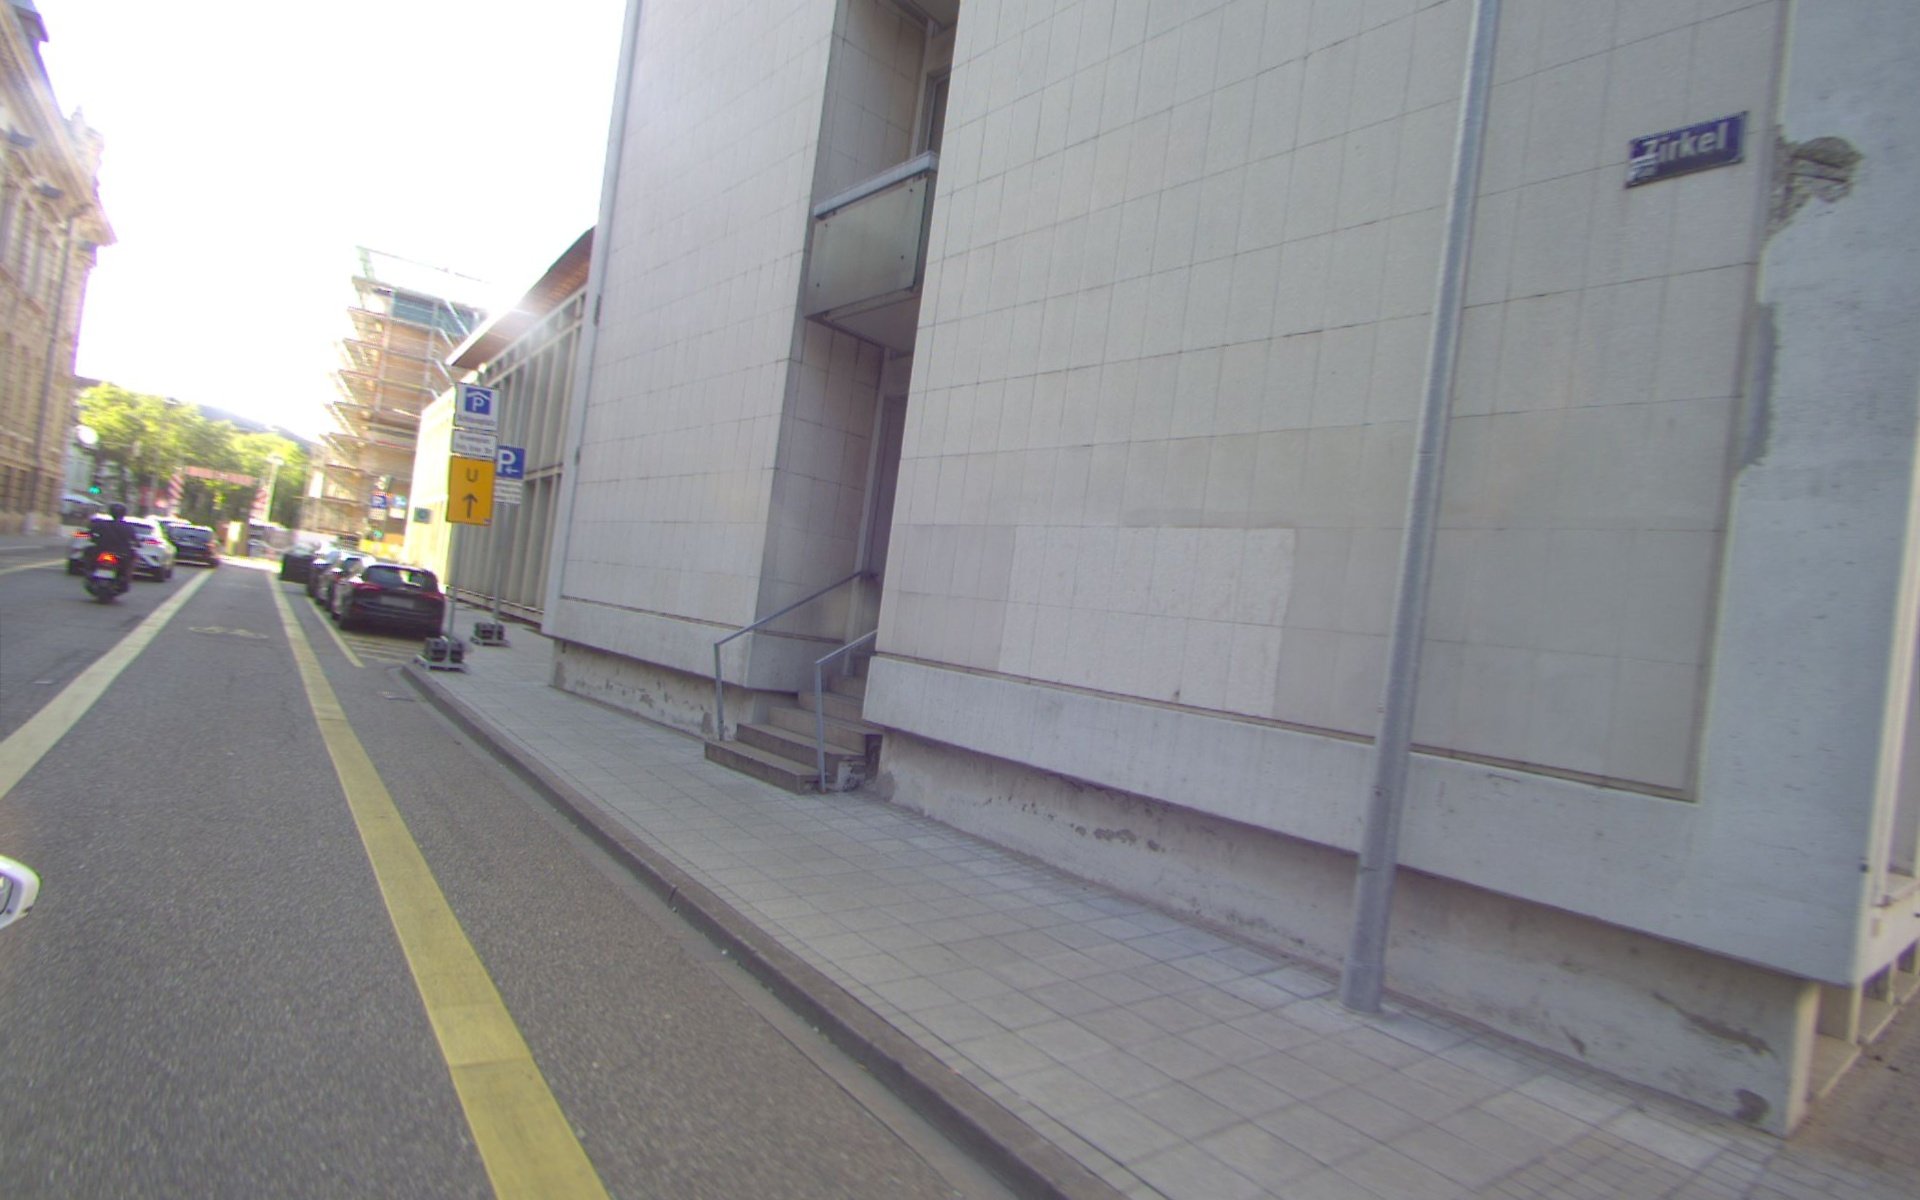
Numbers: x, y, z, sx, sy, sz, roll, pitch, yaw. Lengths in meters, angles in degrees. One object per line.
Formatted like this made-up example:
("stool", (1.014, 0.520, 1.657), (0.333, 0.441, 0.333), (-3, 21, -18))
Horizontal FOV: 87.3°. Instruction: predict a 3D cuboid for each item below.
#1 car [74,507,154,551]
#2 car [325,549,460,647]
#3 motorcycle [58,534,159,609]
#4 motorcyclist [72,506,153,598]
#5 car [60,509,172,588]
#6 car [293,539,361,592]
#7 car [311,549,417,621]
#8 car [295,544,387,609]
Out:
("car", (-41.901, -3.517, 49.810), (4.290, 1.686, 1.993), (8, 2, 36))
("car", (-11.788, -0.098, 20.747), (1.774, 1.496, 4.246), (10, -2, -36))
("motorcycle", (-14.688, -0.476, 17.420), (0.865, 1.122, 1.827), (7, -2, -28))
("motorcyclist", (-14.568, -0.815, 17.307), (0.860, 1.444, 0.452), (7, -1, -29))
("car", (-20.907, -1.289, 25.078), (1.815, 1.559, 4.219), (10, -3, -38))
("car", (-25.814, -1.437, 40.957), (1.816, 1.718, 4.620), (10, -2, -36))
("car", (-15.202, -0.410, 25.542), (1.772, 1.496, 4.248), (8, -3, -36))
("car", (-18.695, -0.749, 30.301), (1.817, 1.517, 4.690), (10, -3, -36))
